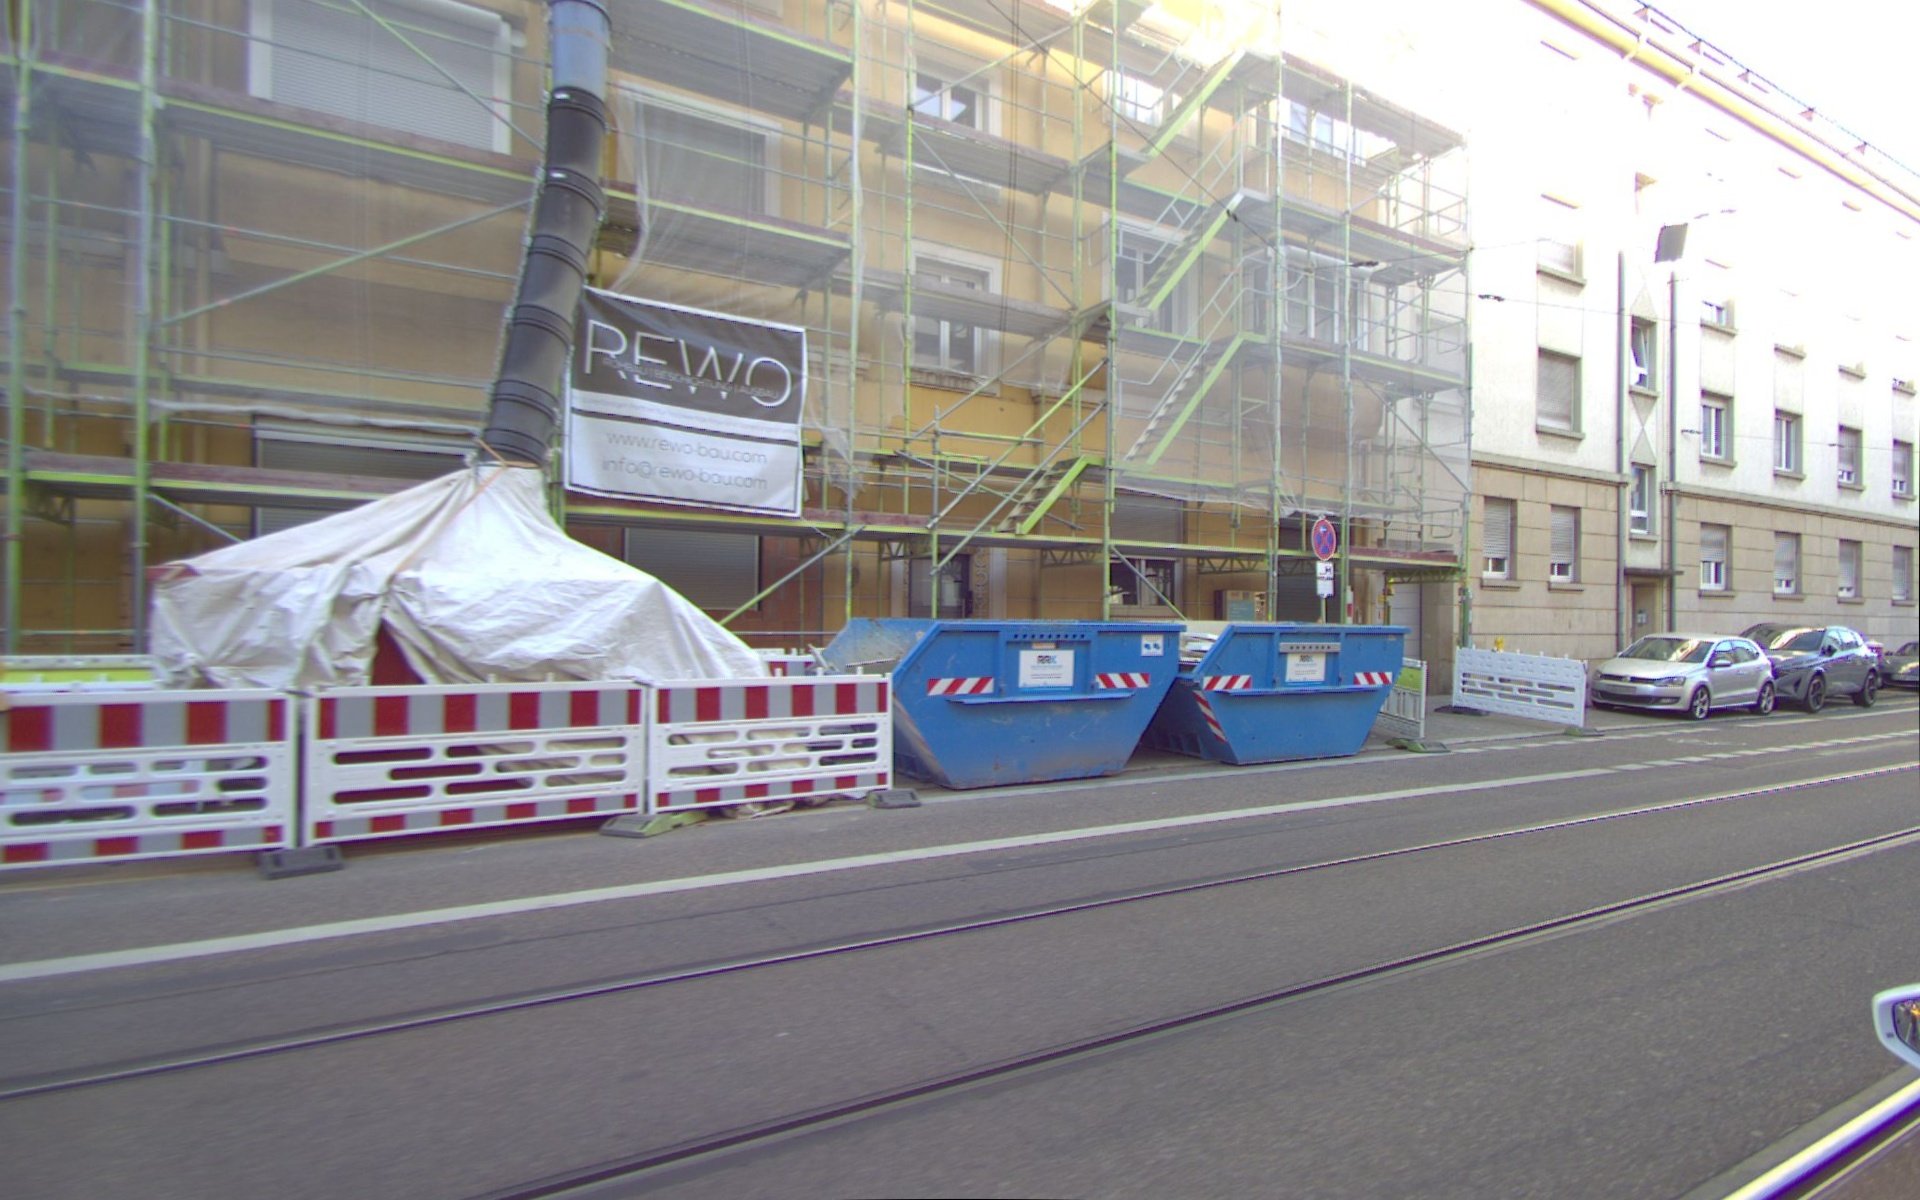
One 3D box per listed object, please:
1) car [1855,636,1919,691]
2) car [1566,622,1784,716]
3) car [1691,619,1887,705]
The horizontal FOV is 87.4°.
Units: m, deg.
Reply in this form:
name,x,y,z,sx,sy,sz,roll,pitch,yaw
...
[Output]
name,x,y,z,sx,sy,sz,roll,pitch,yaw
car,23.822,1.557,24.698,3.743,1.232,1.690,2,0,-32
car,12.999,1.201,18.223,3.953,1.435,1.691,2,2,-30
car,16.925,1.196,20.461,4.354,1.588,1.691,1,-1,-30
